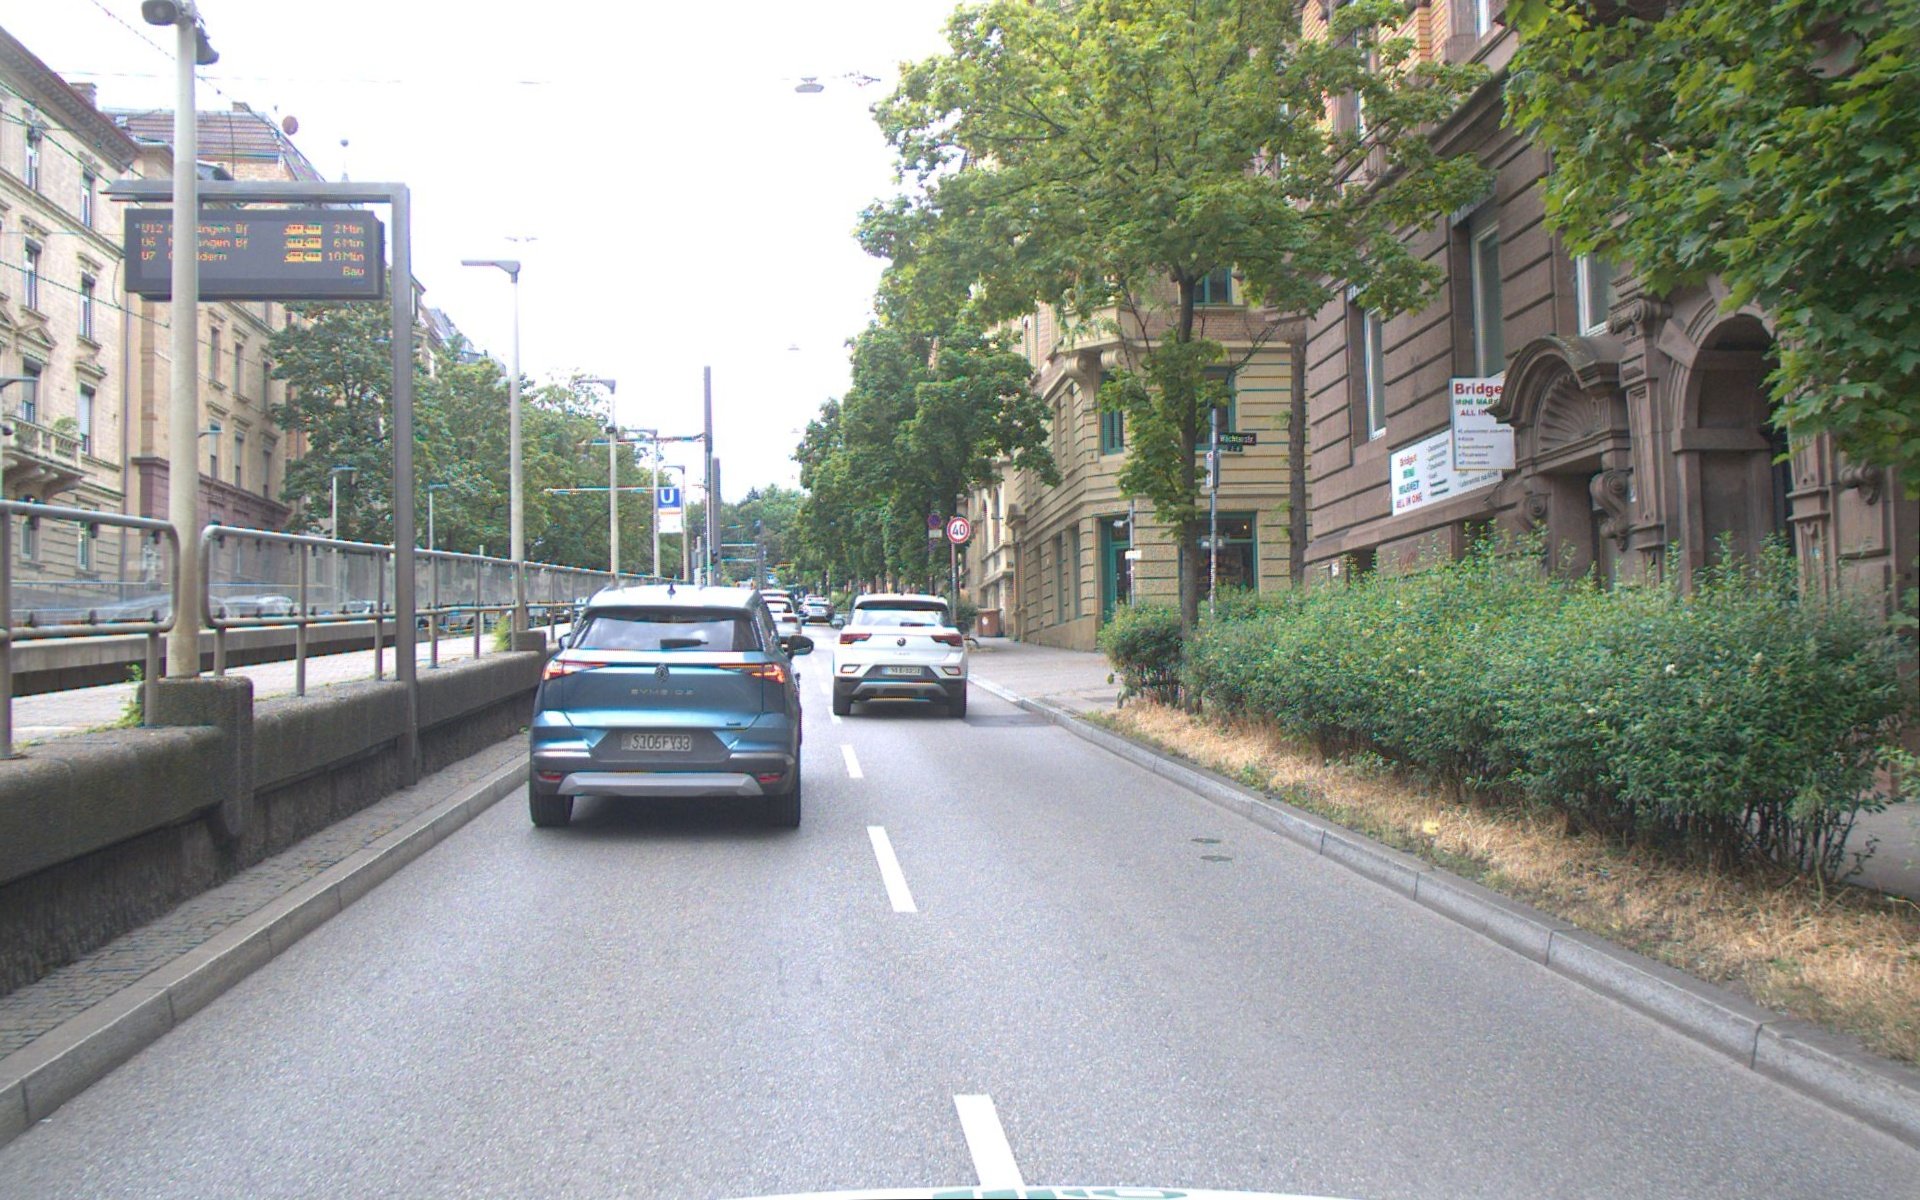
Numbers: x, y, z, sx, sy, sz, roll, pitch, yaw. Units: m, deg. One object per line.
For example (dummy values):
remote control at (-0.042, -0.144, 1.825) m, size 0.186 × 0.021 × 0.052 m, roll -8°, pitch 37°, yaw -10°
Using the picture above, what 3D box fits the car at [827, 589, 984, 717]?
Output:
car at (-0.846, 0.678, 22.675) m, size 1.800 × 1.573 × 4.187 m, roll 1°, pitch 0°, yaw -7°

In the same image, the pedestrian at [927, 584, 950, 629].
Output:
pedestrian at (-0.785, 0.233, 59.720) m, size 0.672 × 1.601 × 1.215 m, roll -2°, pitch 0°, yaw -6°

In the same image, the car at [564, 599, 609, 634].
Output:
car at (-19.513, 0.851, 86.608) m, size 1.676 × 1.766 × 4.571 m, roll -1°, pitch 0°, yaw -5°

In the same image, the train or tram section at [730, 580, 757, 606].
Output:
train or tram section at (-29.764, -0.937, 227.608) m, size 2.937 × 3.407 × 13.424 m, roll -1°, pitch 0°, yaw -5°

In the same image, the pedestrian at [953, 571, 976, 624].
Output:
pedestrian at (0.162, -0.083, 59.670) m, size 0.672 × 1.861 × 1.120 m, roll -2°, pitch -1°, yaw -6°

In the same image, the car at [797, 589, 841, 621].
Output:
car at (-7.228, 0.267, 85.067) m, size 2.026 × 1.573 × 4.191 m, roll 1°, pitch 0°, yaw -2°

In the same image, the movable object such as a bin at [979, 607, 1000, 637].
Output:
movable object such as a bin at (0.982, 0.730, 54.974) m, size 0.484 × 0.935 × 0.499 m, roll -3°, pitch 0°, yaw 43°

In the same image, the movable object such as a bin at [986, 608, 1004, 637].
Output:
movable object such as a bin at (1.148, 0.731, 54.334) m, size 0.489 × 0.935 × 0.444 m, roll -1°, pitch 0°, yaw 14°

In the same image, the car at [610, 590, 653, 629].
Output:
car at (-24.734, 0.692, 124.752) m, size 2.346 × 2.746 × 6.512 m, roll -2°, pitch 0°, yaw -5°

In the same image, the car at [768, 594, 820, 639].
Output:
car at (-6.098, 0.604, 60.907) m, size 1.800 × 1.573 × 4.188 m, roll 1°, pitch 0°, yaw -5°

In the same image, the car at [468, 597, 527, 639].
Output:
car at (-21.625, 0.821, 77.460) m, size 1.812 × 1.892 × 4.135 m, roll -1°, pitch 0°, yaw -4°

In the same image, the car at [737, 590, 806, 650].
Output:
car at (-5.246, 0.553, 46.368) m, size 1.800 × 1.573 × 4.188 m, roll 1°, pitch 0°, yaw -5°

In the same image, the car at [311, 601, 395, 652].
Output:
car at (-21.937, 0.918, 59.936) m, size 1.898 × 1.709 × 3.995 m, roll -2°, pitch 0°, yaw -6°

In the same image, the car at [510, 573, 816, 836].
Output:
car at (-1.974, 0.648, 12.065) m, size 1.800 × 1.573 × 4.188 m, roll 1°, pitch 0°, yaw -5°

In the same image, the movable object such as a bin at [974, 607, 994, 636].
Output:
movable object such as a bin at (0.802, 0.725, 55.548) m, size 0.599 × 0.935 × 0.493 m, roll -3°, pitch 0°, yaw -4°
